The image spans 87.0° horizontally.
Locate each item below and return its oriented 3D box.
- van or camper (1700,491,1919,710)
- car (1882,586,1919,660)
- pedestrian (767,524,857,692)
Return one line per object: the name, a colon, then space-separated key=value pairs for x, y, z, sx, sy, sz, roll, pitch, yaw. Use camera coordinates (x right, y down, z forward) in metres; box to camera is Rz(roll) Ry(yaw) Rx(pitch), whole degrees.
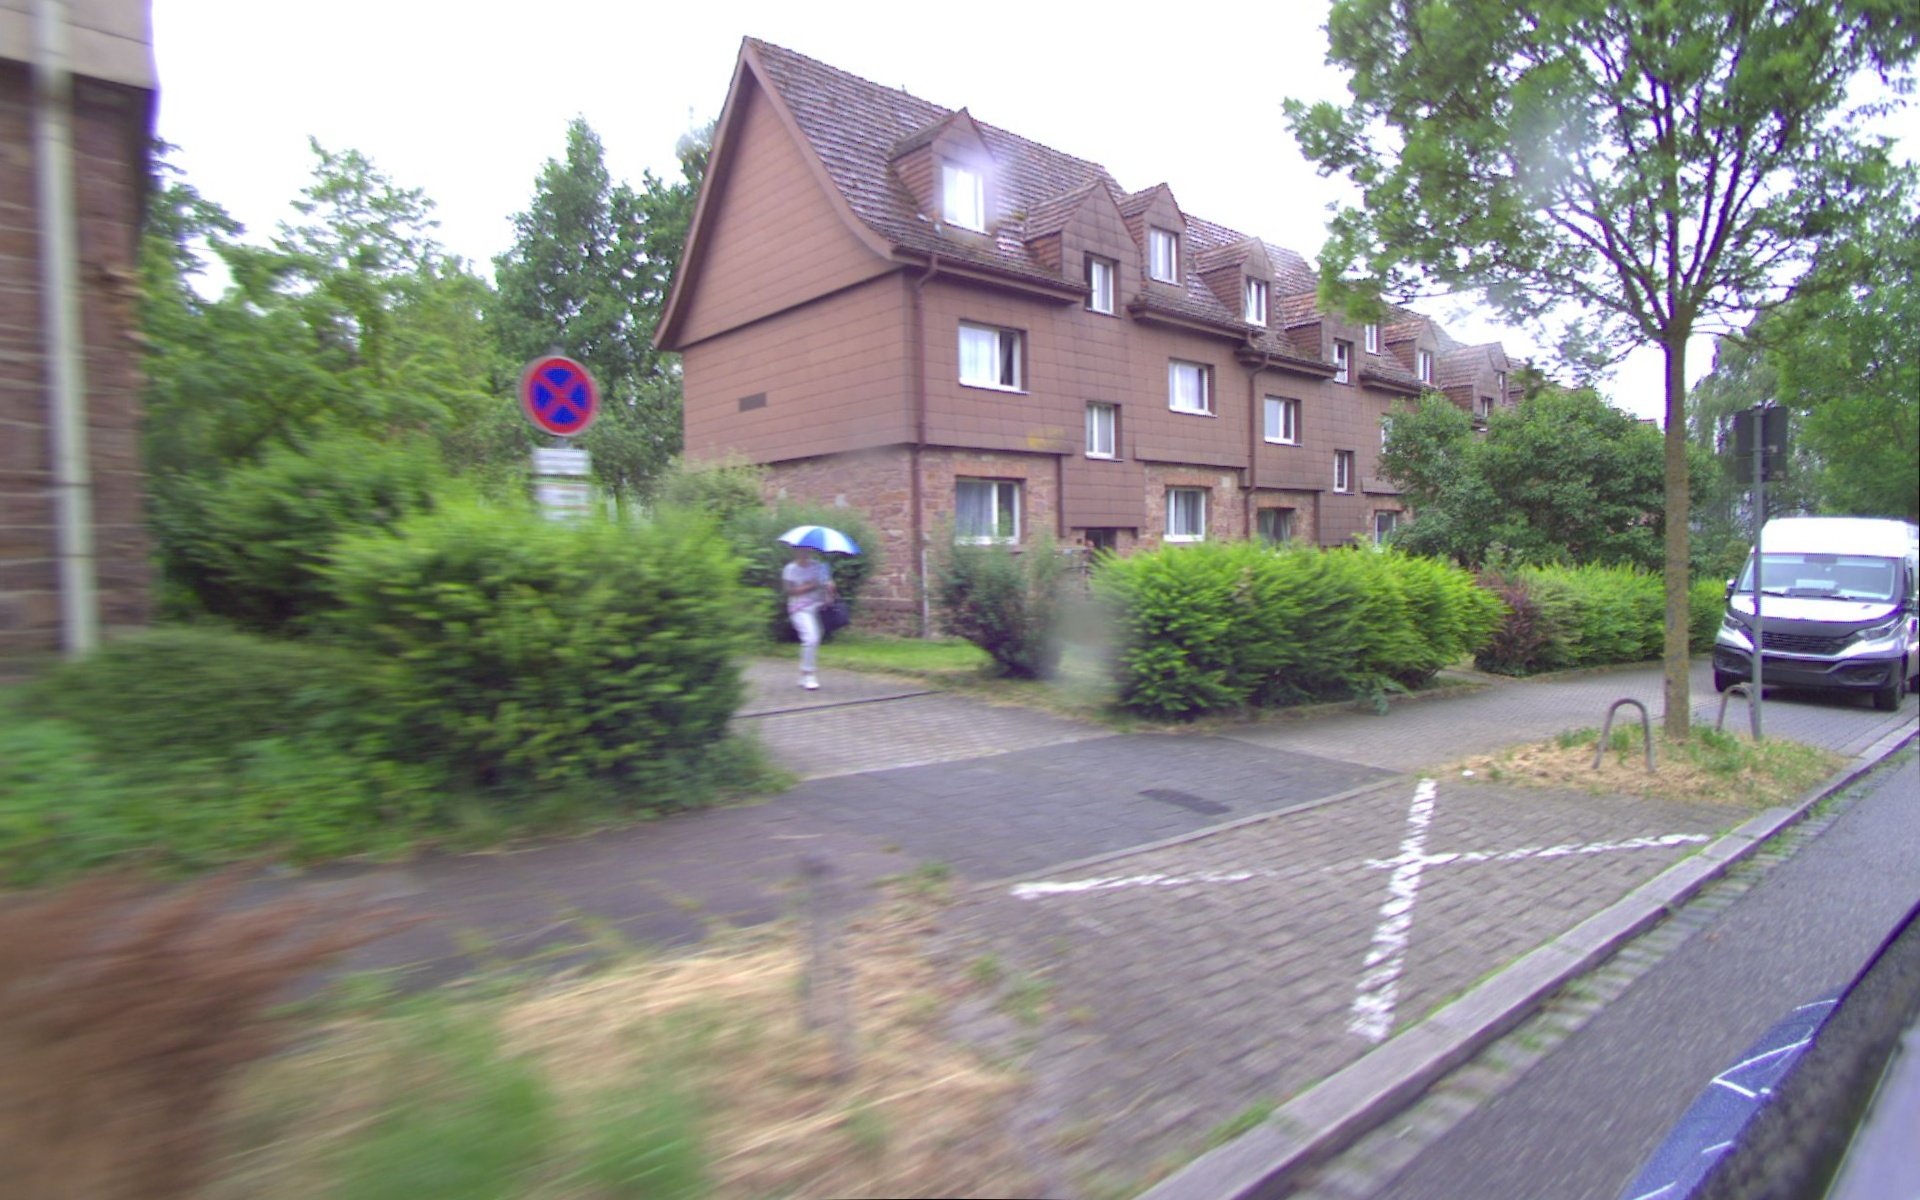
van or camper: x=13.797 y=-0.031 z=15.555 sx=7.172 sy=2.683 sz=2.203 roll=1 pitch=3 yaw=-41
car: x=22.356 y=0.552 z=22.802 sx=3.762 sy=1.546 sz=1.674 roll=0 pitch=4 yaw=-39
pedestrian: x=-1.571 y=0.070 z=10.724 sx=0.641 sy=1.700 sz=0.710 roll=1 pitch=2 yaw=-35
